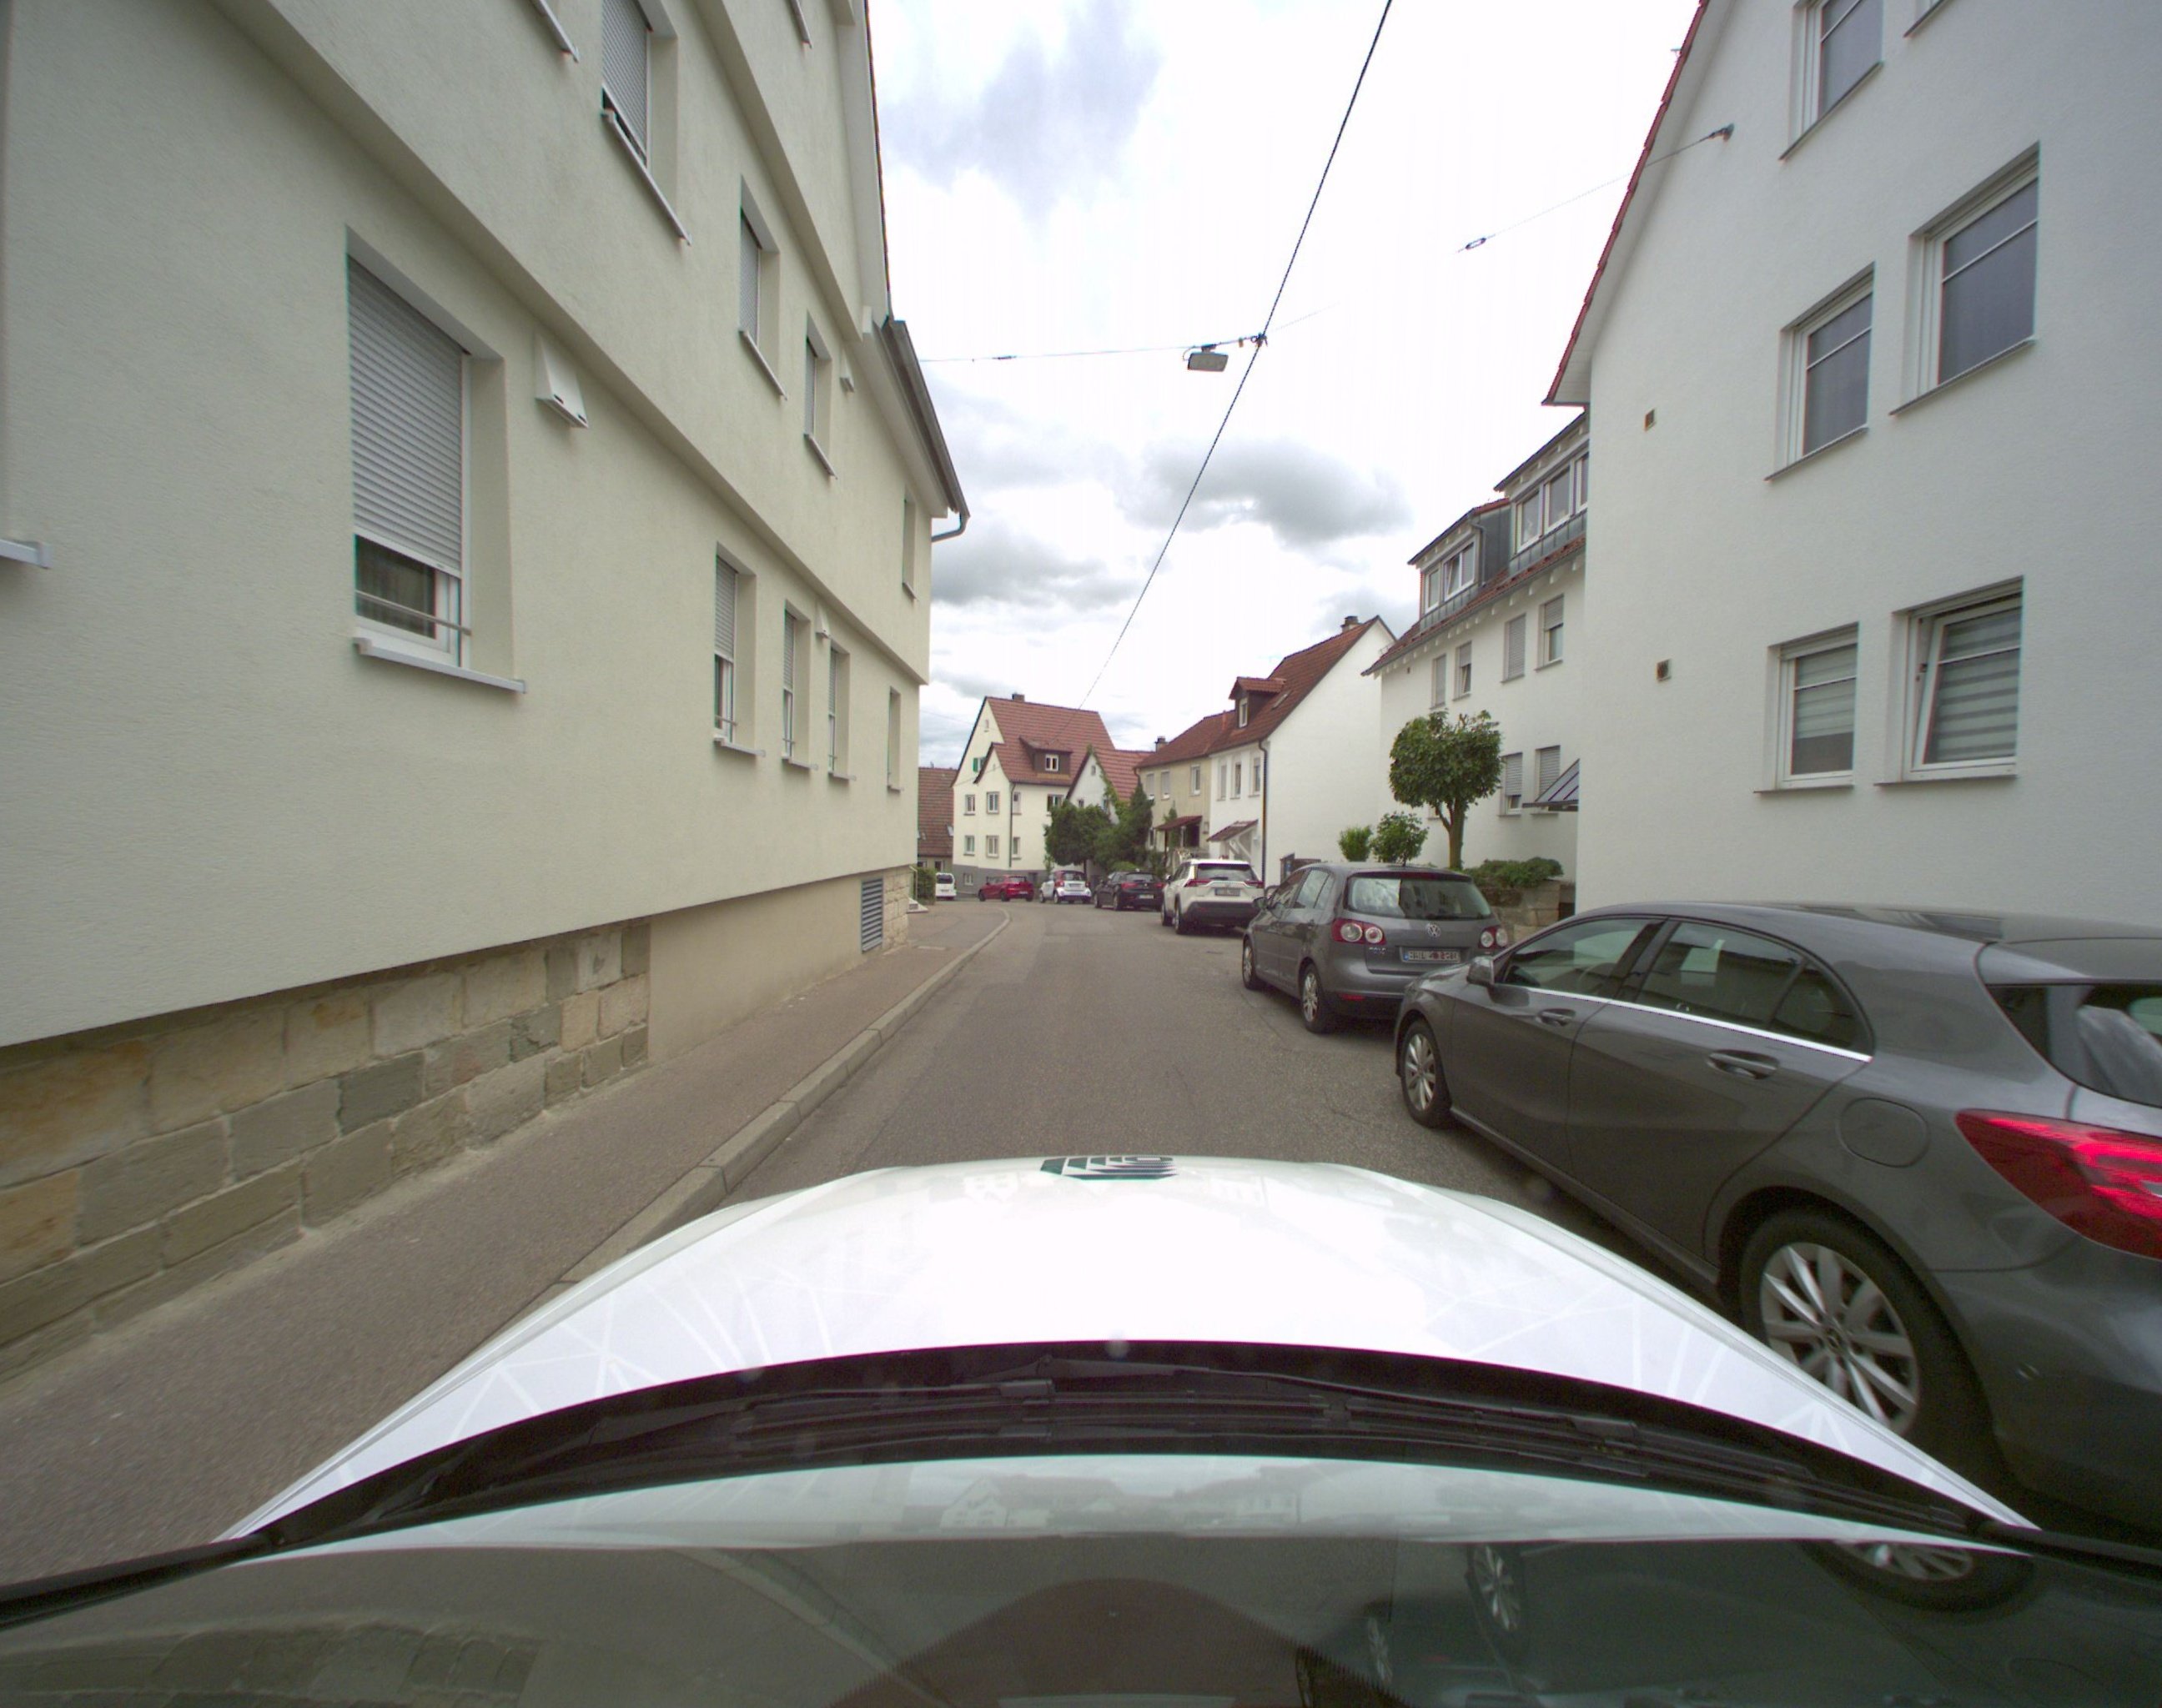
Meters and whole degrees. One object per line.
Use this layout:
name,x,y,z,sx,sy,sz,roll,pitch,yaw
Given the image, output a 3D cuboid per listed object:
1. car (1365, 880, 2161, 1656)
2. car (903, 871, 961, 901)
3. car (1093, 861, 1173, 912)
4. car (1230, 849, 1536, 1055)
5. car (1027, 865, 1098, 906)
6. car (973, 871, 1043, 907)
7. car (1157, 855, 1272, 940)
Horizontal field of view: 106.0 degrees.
car,2.797,0.833,3.529,1.790,1.352,4.075,1,-1,1
car,-9.594,1.994,52.156,2.075,1.644,3.956,-1,2,-37
car,1.794,1.160,29.555,1.994,1.713,3.985,0,-2,-10
car,2.875,0.840,8.748,1.731,1.610,3.999,3,-1,0
car,-0.928,1.466,38.533,1.971,1.713,3.969,1,0,-24
car,-3.993,1.908,44.012,2.008,1.683,3.958,-5,0,-33
car,2.944,0.927,18.780,1.868,1.713,4.145,1,-1,-1
